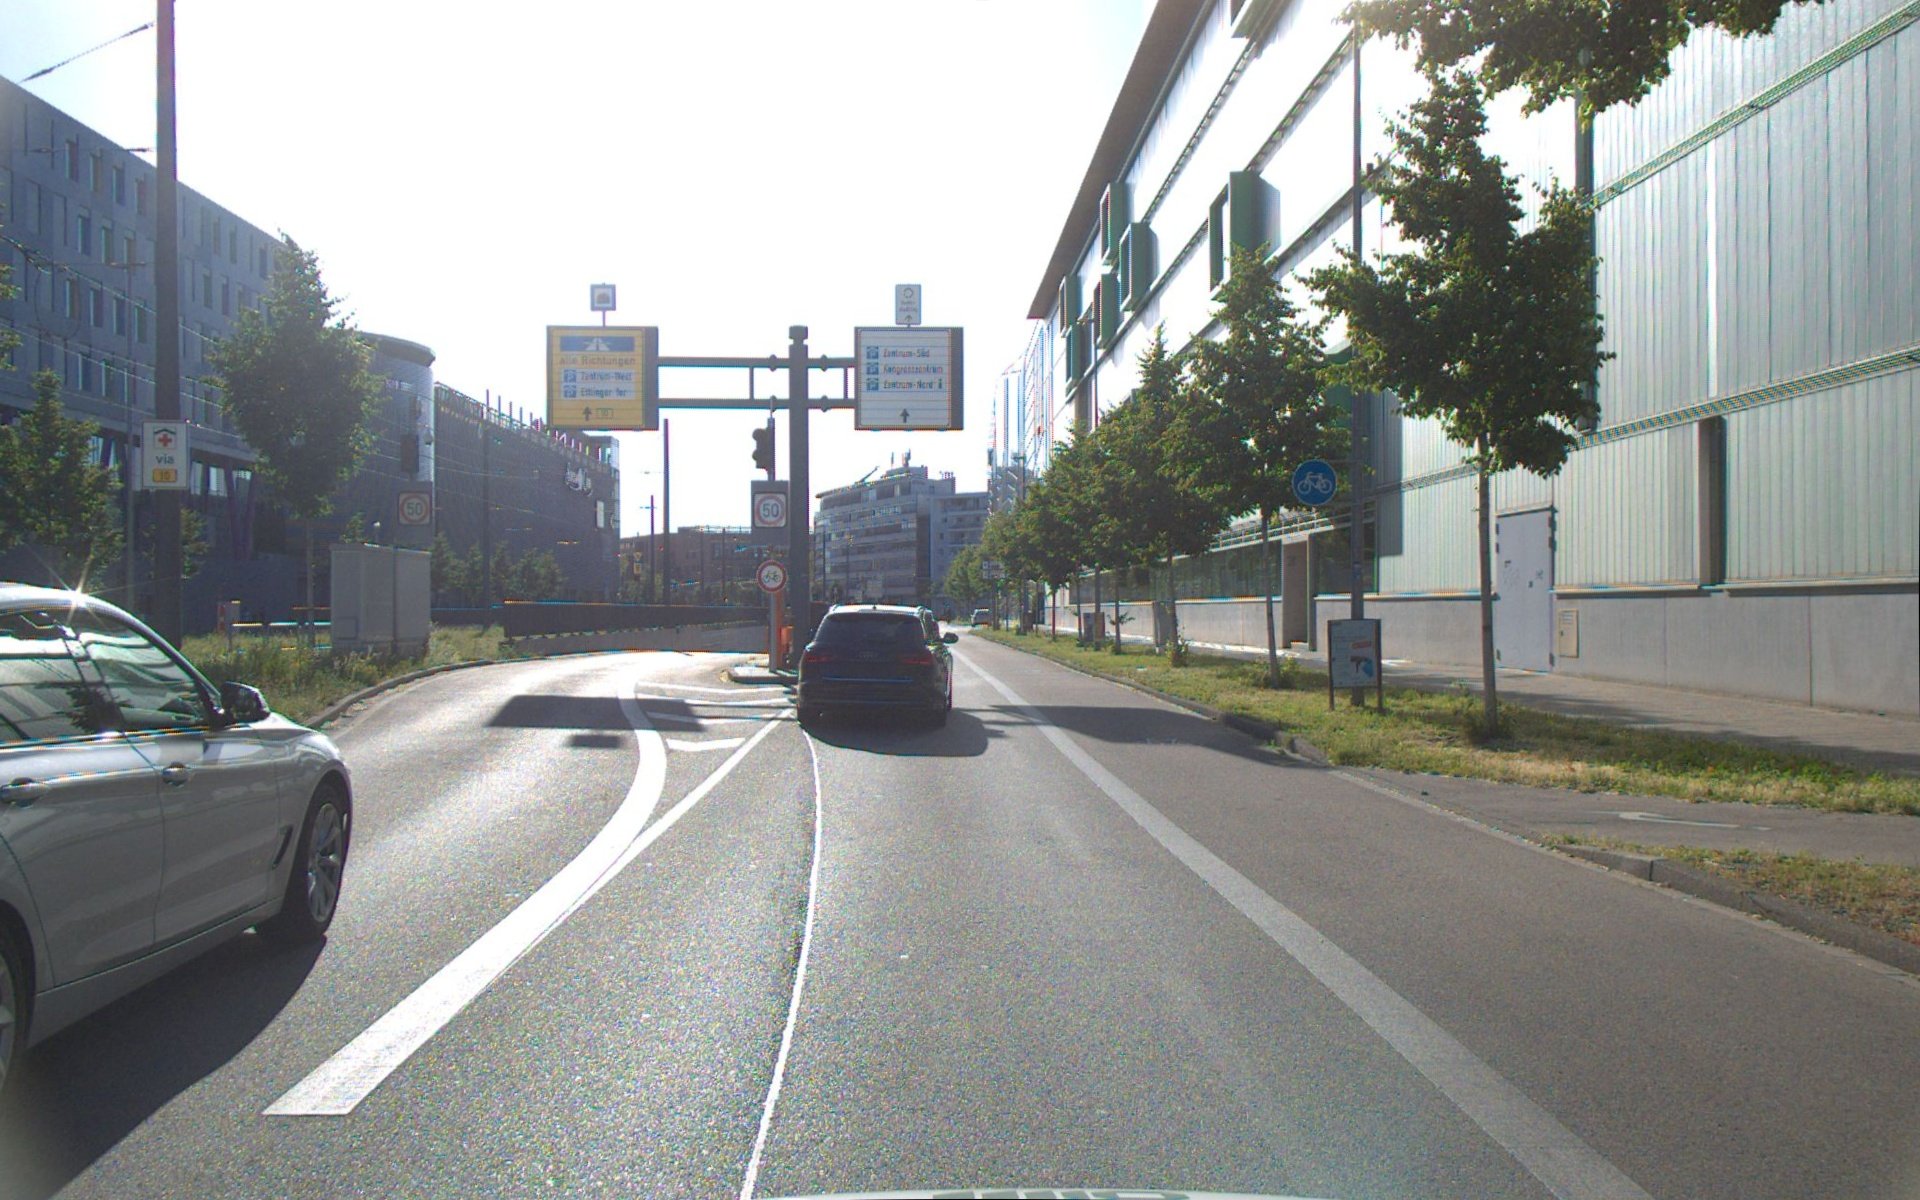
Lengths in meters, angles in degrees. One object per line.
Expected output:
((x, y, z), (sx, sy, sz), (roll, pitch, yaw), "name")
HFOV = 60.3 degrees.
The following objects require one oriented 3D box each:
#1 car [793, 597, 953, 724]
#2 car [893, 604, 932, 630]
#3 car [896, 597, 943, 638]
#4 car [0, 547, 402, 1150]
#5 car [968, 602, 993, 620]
((-1.015, 0.704, 21.463), (1.775, 1.452, 4.689), (0, 0, 0), "car")
((-2.992, 1.070, 103.221), (1.956, 1.491, 3.992), (1, 1, -9), "car")
((-1.641, 0.683, 66.631), (1.815, 1.573, 3.999), (1, 0, -2), "car")
((-3.403, 0.617, 5.348), (1.763, 1.553, 4.907), (1, 0, -4), "car")
((1.757, 0.929, 144.531), (1.816, 1.507, 4.851), (-2, 0, -3), "car")
